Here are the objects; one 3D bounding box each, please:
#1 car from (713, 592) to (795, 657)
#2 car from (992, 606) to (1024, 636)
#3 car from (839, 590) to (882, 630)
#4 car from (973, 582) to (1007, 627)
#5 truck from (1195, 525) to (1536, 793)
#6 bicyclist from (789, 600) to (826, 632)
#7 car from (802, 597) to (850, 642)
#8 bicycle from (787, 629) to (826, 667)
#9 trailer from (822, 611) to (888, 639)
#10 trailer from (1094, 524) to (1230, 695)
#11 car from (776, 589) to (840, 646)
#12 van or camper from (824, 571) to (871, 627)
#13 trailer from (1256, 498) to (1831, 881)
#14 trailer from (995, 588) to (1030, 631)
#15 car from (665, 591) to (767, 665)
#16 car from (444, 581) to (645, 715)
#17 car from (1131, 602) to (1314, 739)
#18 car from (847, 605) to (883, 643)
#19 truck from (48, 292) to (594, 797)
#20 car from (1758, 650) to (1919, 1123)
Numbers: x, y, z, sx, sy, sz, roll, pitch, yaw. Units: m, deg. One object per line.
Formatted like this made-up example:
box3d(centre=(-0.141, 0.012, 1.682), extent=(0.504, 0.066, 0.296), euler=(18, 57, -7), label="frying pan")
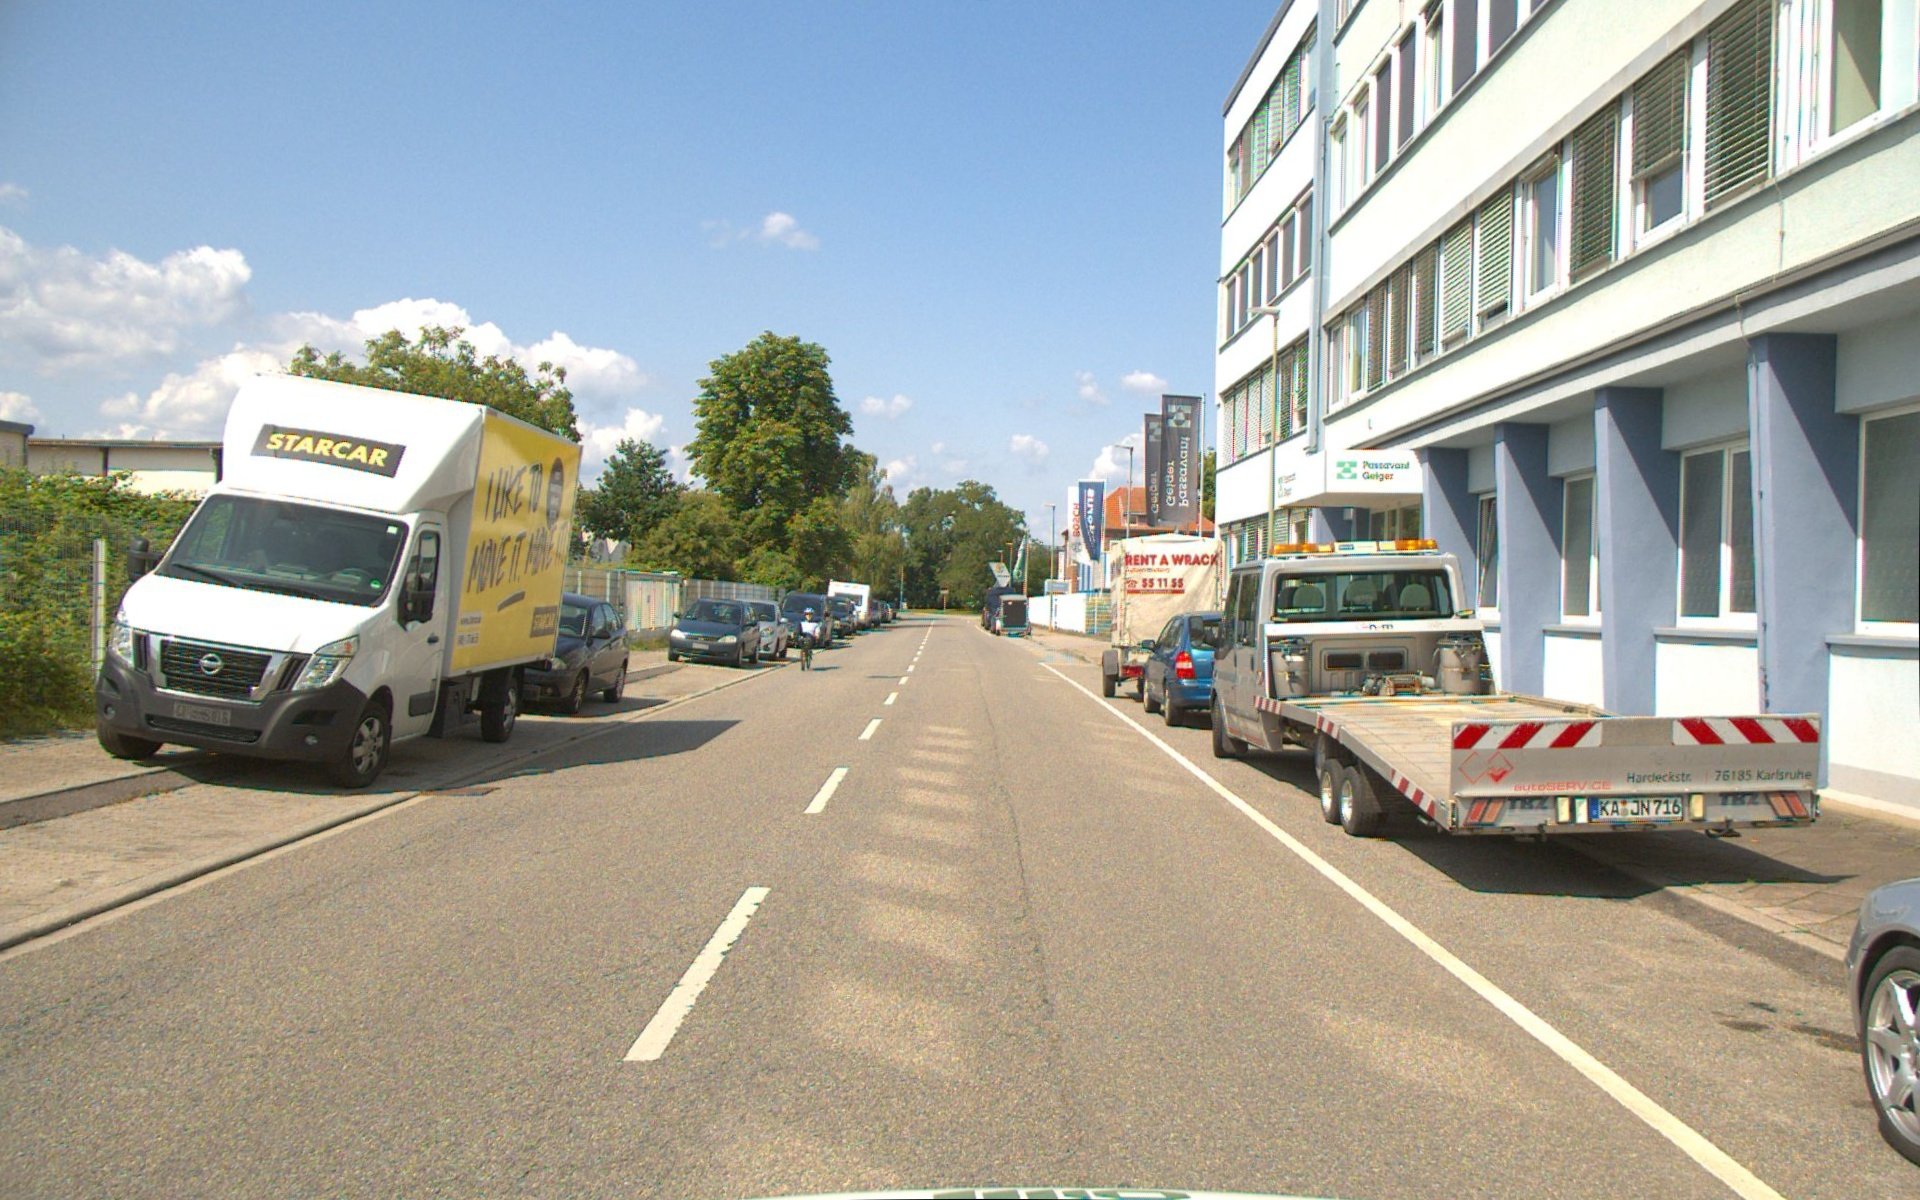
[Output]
box3d(centre=(-5.218, 0.601, 42.346), extent=(1.583, 1.509, 3.709), euler=(3, 0, -1), label="car")
box3d(centre=(2.580, 1.104, 89.594), extent=(1.540, 1.534, 4.132), euler=(1, 0, -1), label="car")
box3d(centre=(-4.709, 0.461, 78.805), extent=(1.790, 1.825, 4.734), euler=(1, 0, -1), label="car")
box3d(centre=(1.893, 0.276, 107.126), extent=(1.898, 2.796, 6.153), euler=(1, 0, -1), label="car")
box3d(centre=(3.539, 0.461, 15.409), extent=(1.924, 2.071, 4.733), euler=(1, 0, -1), label="truck")
box3d(centre=(-3.355, 0.348, 36.483), extent=(0.554, 0.642, 1.858), euler=(2, 1, 2), label="bicyclist")
box3d(centre=(-4.910, 0.699, 60.973), extent=(1.545, 1.539, 4.199), euler=(2, 0, -3), label="car")
box3d(centre=(-3.373, 1.047, 36.506), extent=(0.575, 0.754, 2.125), euler=(1, 0, 2), label="bicycle")
box3d(centre=(-4.402, 1.049, 70.361), extent=(2.225, 0.898, 7.132), euler=(6, 0, 1), label="trailer")
box3d(centre=(3.309, 0.141, 27.917), extent=(1.830, 2.598, 5.073), euler=(1, 0, 2), label="trailer")
box3d(centre=(-5.025, 0.563, 55.283), extent=(1.764, 1.780, 4.712), euler=(1, 0, -1), label="car")
box3d(centre=(-6.361, -0.042, 94.210), extent=(2.218, 2.852, 6.830), euler=(5, 0, -2), label="van or camper")
box3d(centre=(3.623, 0.465, 11.676), extent=(1.933, 2.005, 5.765), euler=(1, 0, -1), label="trailer")
box3d(centre=(2.615, 0.457, 83.413), extent=(1.569, 2.073, 2.740), euler=(2, 0, -1), label="trailer")
box3d(centre=(-5.450, 0.596, 37.406), extent=(1.537, 1.423, 3.799), euler=(6, 0, 1), label="car")
box3d(centre=(-5.485, 0.590, 22.284), extent=(1.587, 1.454, 3.826), euler=(7, 0, 0), label="car")
box3d(centre=(3.356, 0.852, 21.926), extent=(1.683, 1.569, 4.403), euler=(2, 0, 0), label="car")
box3d(centre=(-4.939, 1.220, 85.357), extent=(1.651, 1.721, 4.441), euler=(5, 0, -4), label="car")
box3d(centre=(-5.350, -0.431, 15.339), extent=(2.205, 3.419, 6.905), euler=(6, 0, -1), label="truck")
box3d(centre=(3.477, 0.830, 3.475), extent=(1.613, 1.268, 3.999), euler=(1, 0, -1), label="car")
